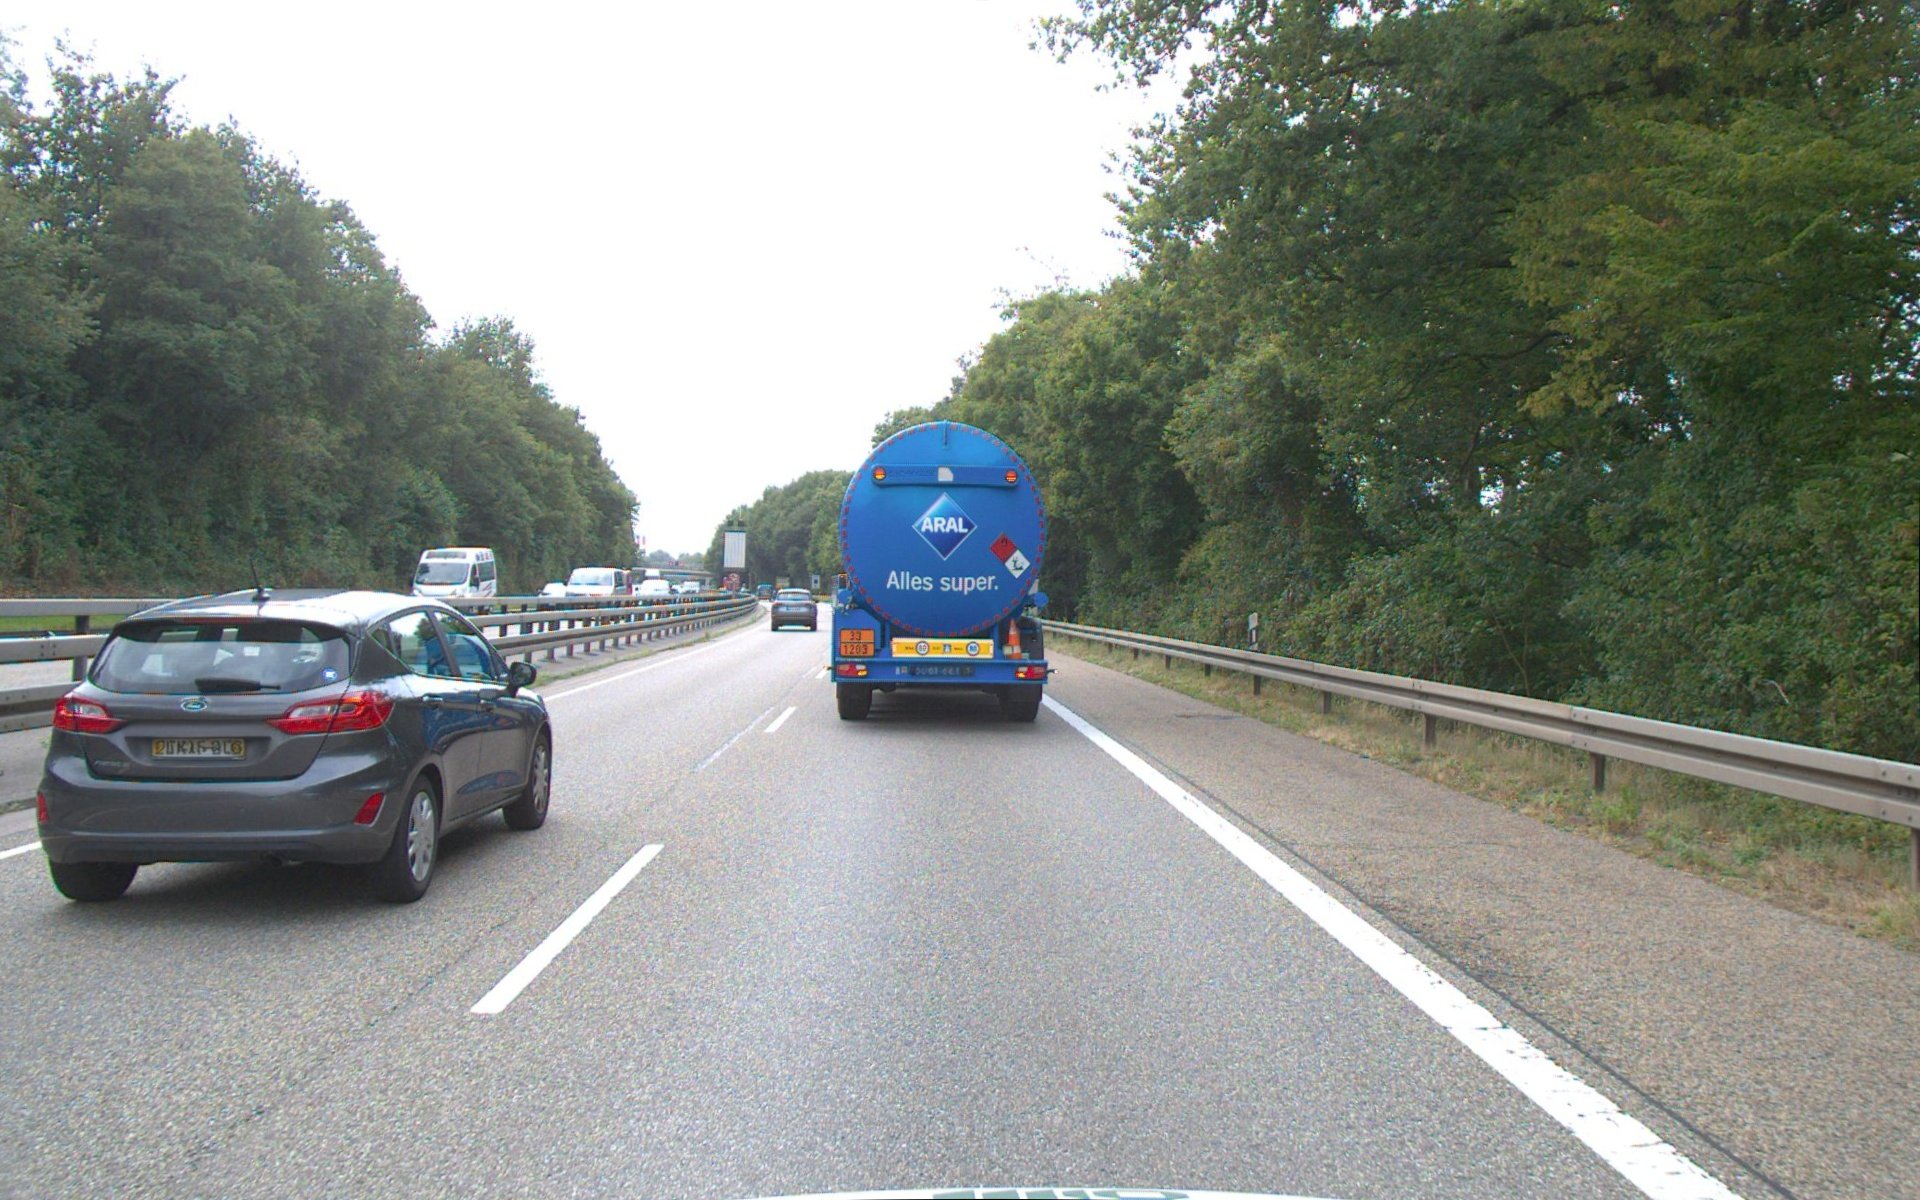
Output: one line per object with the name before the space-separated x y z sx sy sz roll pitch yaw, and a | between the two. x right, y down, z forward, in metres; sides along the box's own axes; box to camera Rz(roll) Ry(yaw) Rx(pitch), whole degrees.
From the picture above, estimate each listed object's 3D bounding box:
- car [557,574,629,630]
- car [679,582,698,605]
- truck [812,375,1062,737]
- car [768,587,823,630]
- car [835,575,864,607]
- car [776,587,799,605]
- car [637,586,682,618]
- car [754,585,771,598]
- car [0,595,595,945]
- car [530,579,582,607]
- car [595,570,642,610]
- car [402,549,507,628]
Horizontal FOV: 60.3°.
car | -13.824 0.091 62.549 1.785 2.018 5.055 0 0 -3
car | -28.776 -0.670 175.306 1.899 2.362 5.294 0 0 -9
truck | -0.326 -0.493 21.801 2.699 3.914 7.686 0 0 -1
car | -6.472 0.331 65.428 1.789 1.637 4.166 0 0 -1
car | -8.118 -0.638 122.185 1.953 2.284 3.999 0 0 -1
car | -15.797 -0.334 151.623 1.918 1.595 3.992 0 0 -8
car | -15.280 0.105 84.158 1.746 1.590 4.012 0 0 -3
car | -24.162 -1.015 202.026 1.957 1.579 3.991 0 0 -9
car | -3.380 0.730 9.379 1.790 1.483 4.637 0 0 -3
car | -19.534 -0.332 80.113 1.739 1.319 4.104 0 0 -3
car | -20.238 -0.567 98.313 2.025 2.295 5.370 0 0 -4
car | -17.840 -0.390 58.680 2.265 2.656 5.550 0 0 -3
